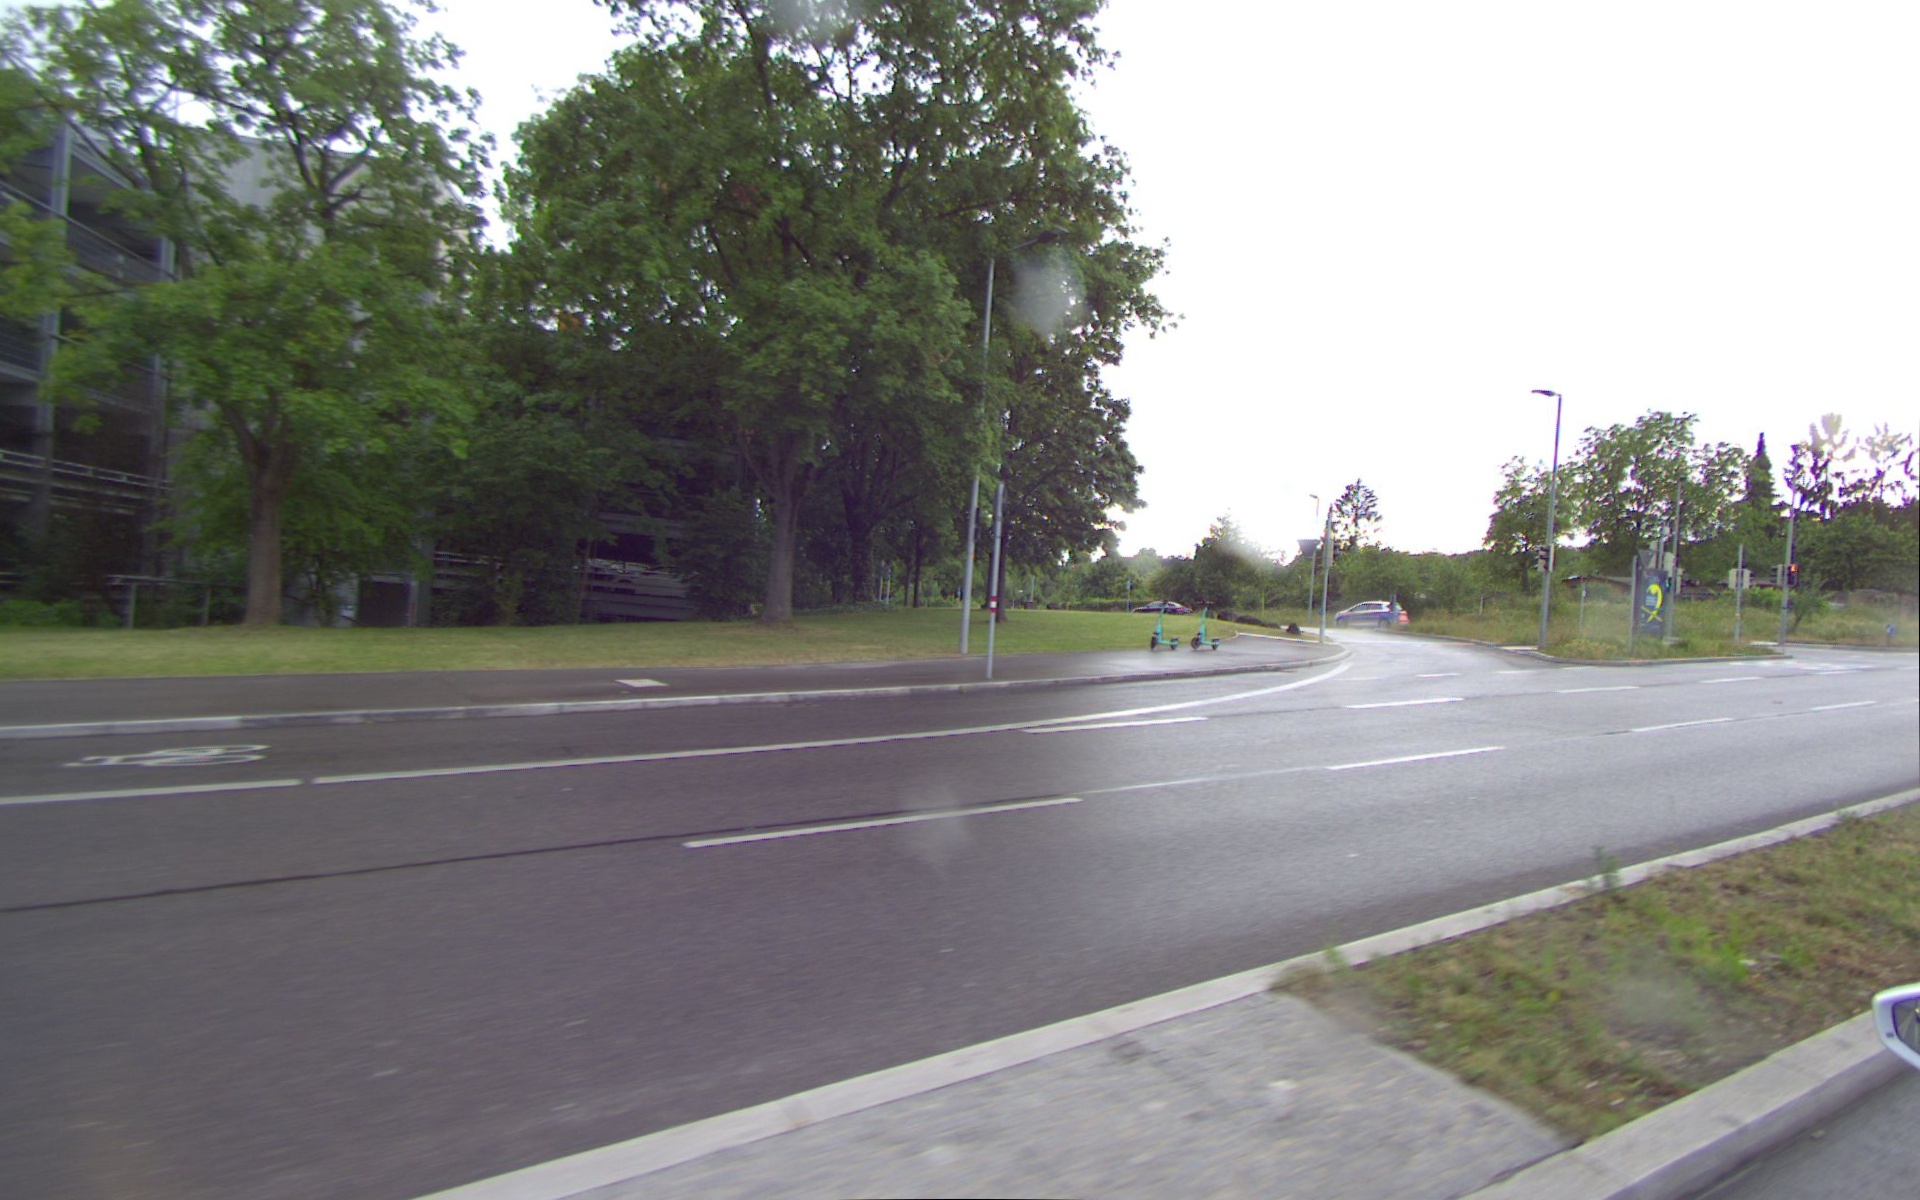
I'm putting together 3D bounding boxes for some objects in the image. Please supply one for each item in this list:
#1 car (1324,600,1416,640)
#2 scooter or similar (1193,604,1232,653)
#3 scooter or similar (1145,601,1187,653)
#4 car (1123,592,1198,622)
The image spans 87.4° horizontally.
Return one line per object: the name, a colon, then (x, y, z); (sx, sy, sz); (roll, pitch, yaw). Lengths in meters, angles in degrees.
car: (22.164, 1.062, 54.441); (2.061, 1.741, 4.160); (3, 2, -32)
scooter or similar: (6.481, 0.718, 25.766); (1.299, 1.234, 0.308); (0, 2, -44)
scooter or similar: (5.095, 0.654, 24.819); (1.299, 1.234, 0.308); (0, 2, -45)
car: (13.320, 0.421, 66.857); (2.152, 1.604, 4.617); (3, 2, -35)
